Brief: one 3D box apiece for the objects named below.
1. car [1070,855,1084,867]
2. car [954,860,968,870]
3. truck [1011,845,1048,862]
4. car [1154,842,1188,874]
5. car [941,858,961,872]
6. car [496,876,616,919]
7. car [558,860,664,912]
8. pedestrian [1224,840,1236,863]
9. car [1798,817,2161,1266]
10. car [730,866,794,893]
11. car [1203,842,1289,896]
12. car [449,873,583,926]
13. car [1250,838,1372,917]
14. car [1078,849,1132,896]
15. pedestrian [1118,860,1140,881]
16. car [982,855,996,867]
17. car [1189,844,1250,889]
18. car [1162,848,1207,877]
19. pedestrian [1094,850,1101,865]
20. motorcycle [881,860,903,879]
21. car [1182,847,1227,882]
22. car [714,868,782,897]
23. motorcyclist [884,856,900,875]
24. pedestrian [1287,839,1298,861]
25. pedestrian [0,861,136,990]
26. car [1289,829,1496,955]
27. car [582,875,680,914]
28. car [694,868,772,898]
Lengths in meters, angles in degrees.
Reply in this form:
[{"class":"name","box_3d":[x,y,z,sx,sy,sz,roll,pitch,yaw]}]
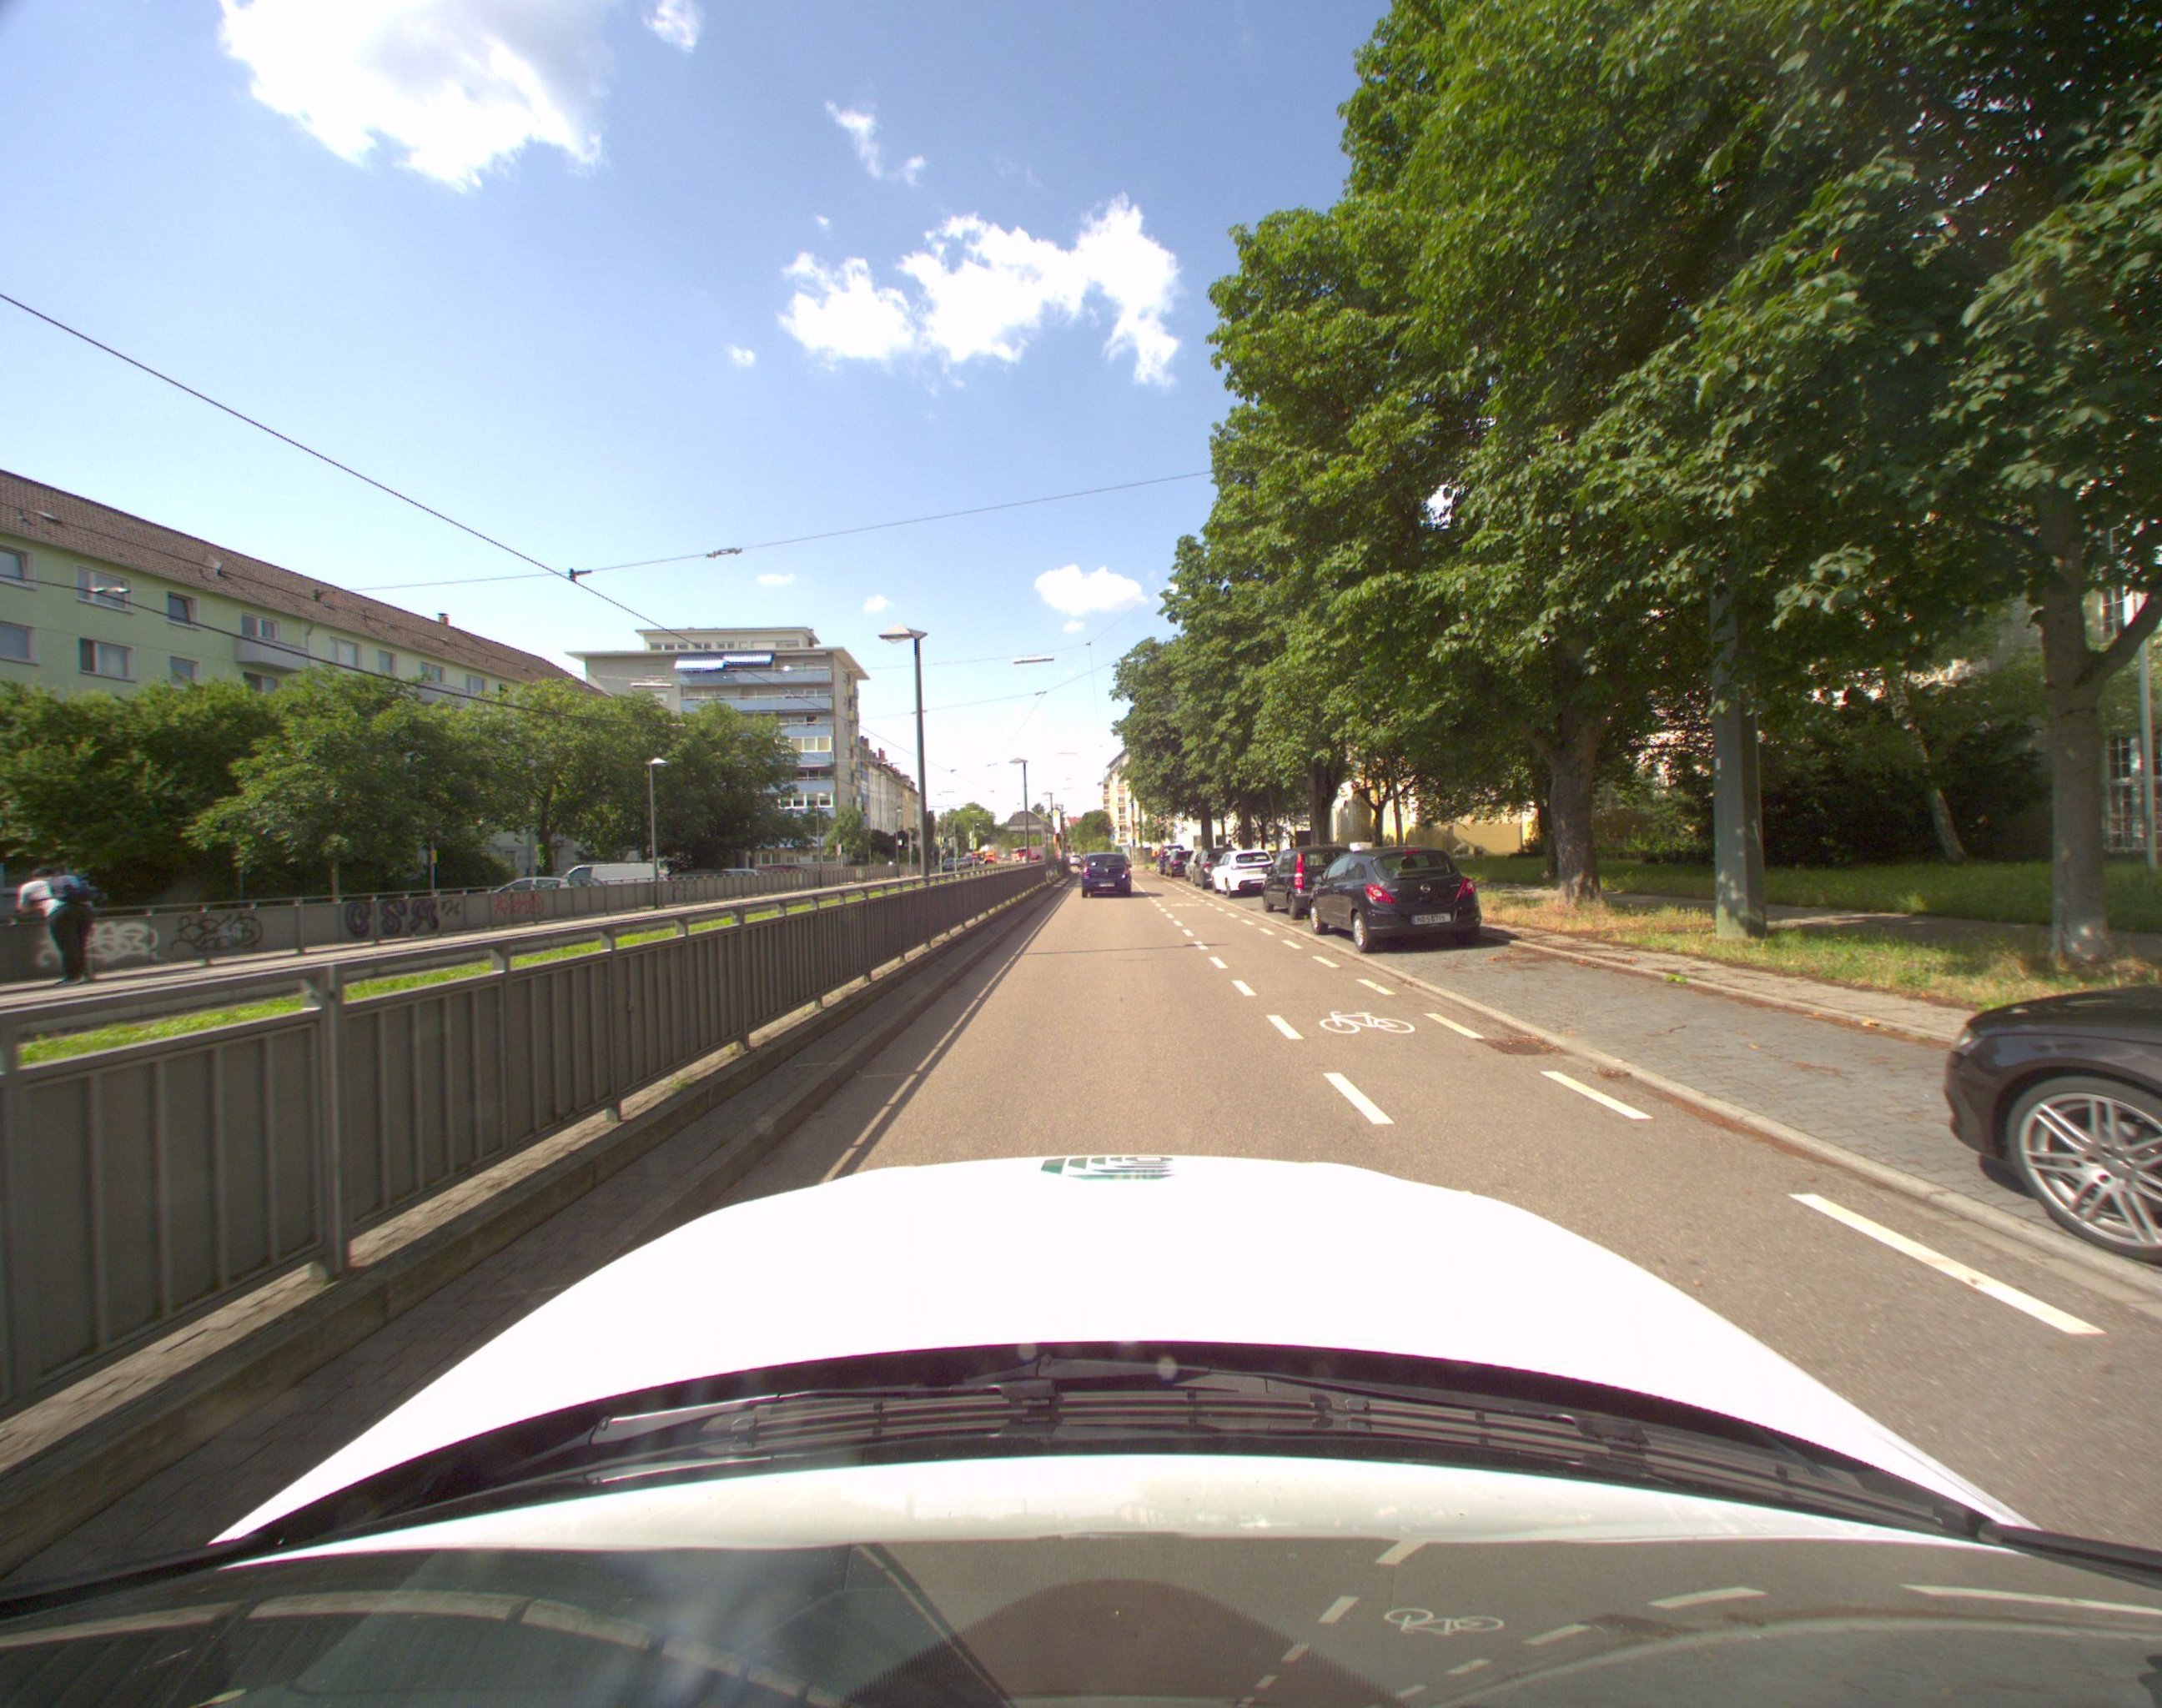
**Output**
[{"class":"car","box_3d":[-0.543,0.831,102.577,1.618,1.465,3.506,-1,-1,-3]},{"class":"car","box_3d":[-17.437,1.567,118.426,1.765,1.442,3.994,-1,-1,-4]},{"class":"truck","box_3d":[-11.631,-0.067,183.063,8.431,3.185,2.572,-4,0,-44]},{"class":"car","box_3d":[5.764,0.232,52.535,1.815,1.896,4.187,-4,0,3]},{"class":"car","box_3d":[-16.357,1.404,102.472,1.989,1.645,3.996,-1,-1,-2]},{"class":"car","box_3d":[-21.464,1.741,33.448,4.015,1.485,1.593,-3,0,-32]},{"class":"car","box_3d":[-20.964,1.382,36.459,3.964,2.070,2.030,-2,0,-30]},{"class":"pedestrian","box_3d":[11.126,-0.184,60.824,0.741,1.696,0.767,-3,0,2]},{"class":"car","box_3d":[4.575,0.580,1.629,1.827,1.467,4.827,-5,-1,-2]},{"class":"car","box_3d":[-20.807,1.649,53.154,3.678,1.579,1.633,-2,0,-30]},{"class":"car","box_3d":[5.386,0.470,27.160,1.830,1.523,4.251,-5,0,-1]},{"class":"car","box_3d":[-21.259,1.644,30.749,4.018,1.639,1.807,-3,1,-36]},{"class":"car","box_3d":[5.072,0.502,18.422,1.551,1.461,3.556,-6,-1,-1]},{"class":"car","box_3d":[0.823,0.627,28.895,1.738,1.507,4.000,-1,-1,1]},{"class":"pedestrian","box_3d":[4.680,1.594,79.396,1.986,2.014,4.001,-1,-1,2]},{"class":"car","box_3d":[-17.777,1.317,157.269,1.997,2.275,4.810,2,0,-15]},{"class":"car","box_3d":[5.477,0.441,32.760,1.718,1.583,4.679,-4,0,2]},{"class":"car","box_3d":[5.924,0.473,47.173,1.911,1.442,4.796,-5,0,0]},{"class":"pedestrian","box_3d":[2.055,0.445,100.588,0.699,1.789,1.029,-5,0,-2]},{"class":"motorcycle","box_3d":[-14.607,1.196,63.083,1.011,1.339,2.518,-3,0,2]},{"class":"car","box_3d":[5.750,0.491,38.170,1.585,1.445,3.599,-4,0,2]},{"class":"car","box_3d":[-20.698,1.734,50.670,3.678,1.579,1.633,-2,0,-30]},{"class":"motorcyclist","box_3d":[-14.640,0.884,63.105,0.935,1.339,0.987,-3,0,2]},{"class":"pedestrian","box_3d":[15.662,-0.324,60.297,0.629,1.596,0.539,-3,-1,-2]},{"class":"pedestrian","box_3d":[-13.274,0.900,10.588,0.985,1.578,0.798,-3,-1,-2]},{"class":"car","box_3d":[4.787,0.516,13.228,1.685,1.561,4.309,-5,0,1]},{"class":"car","box_3d":[-21.530,1.877,39.030,3.964,1.579,1.702,-2,0,-31]},{"class":"car","box_3d":[-20.525,1.665,48.064,4.039,1.514,1.594,-3,0,-29]}]
